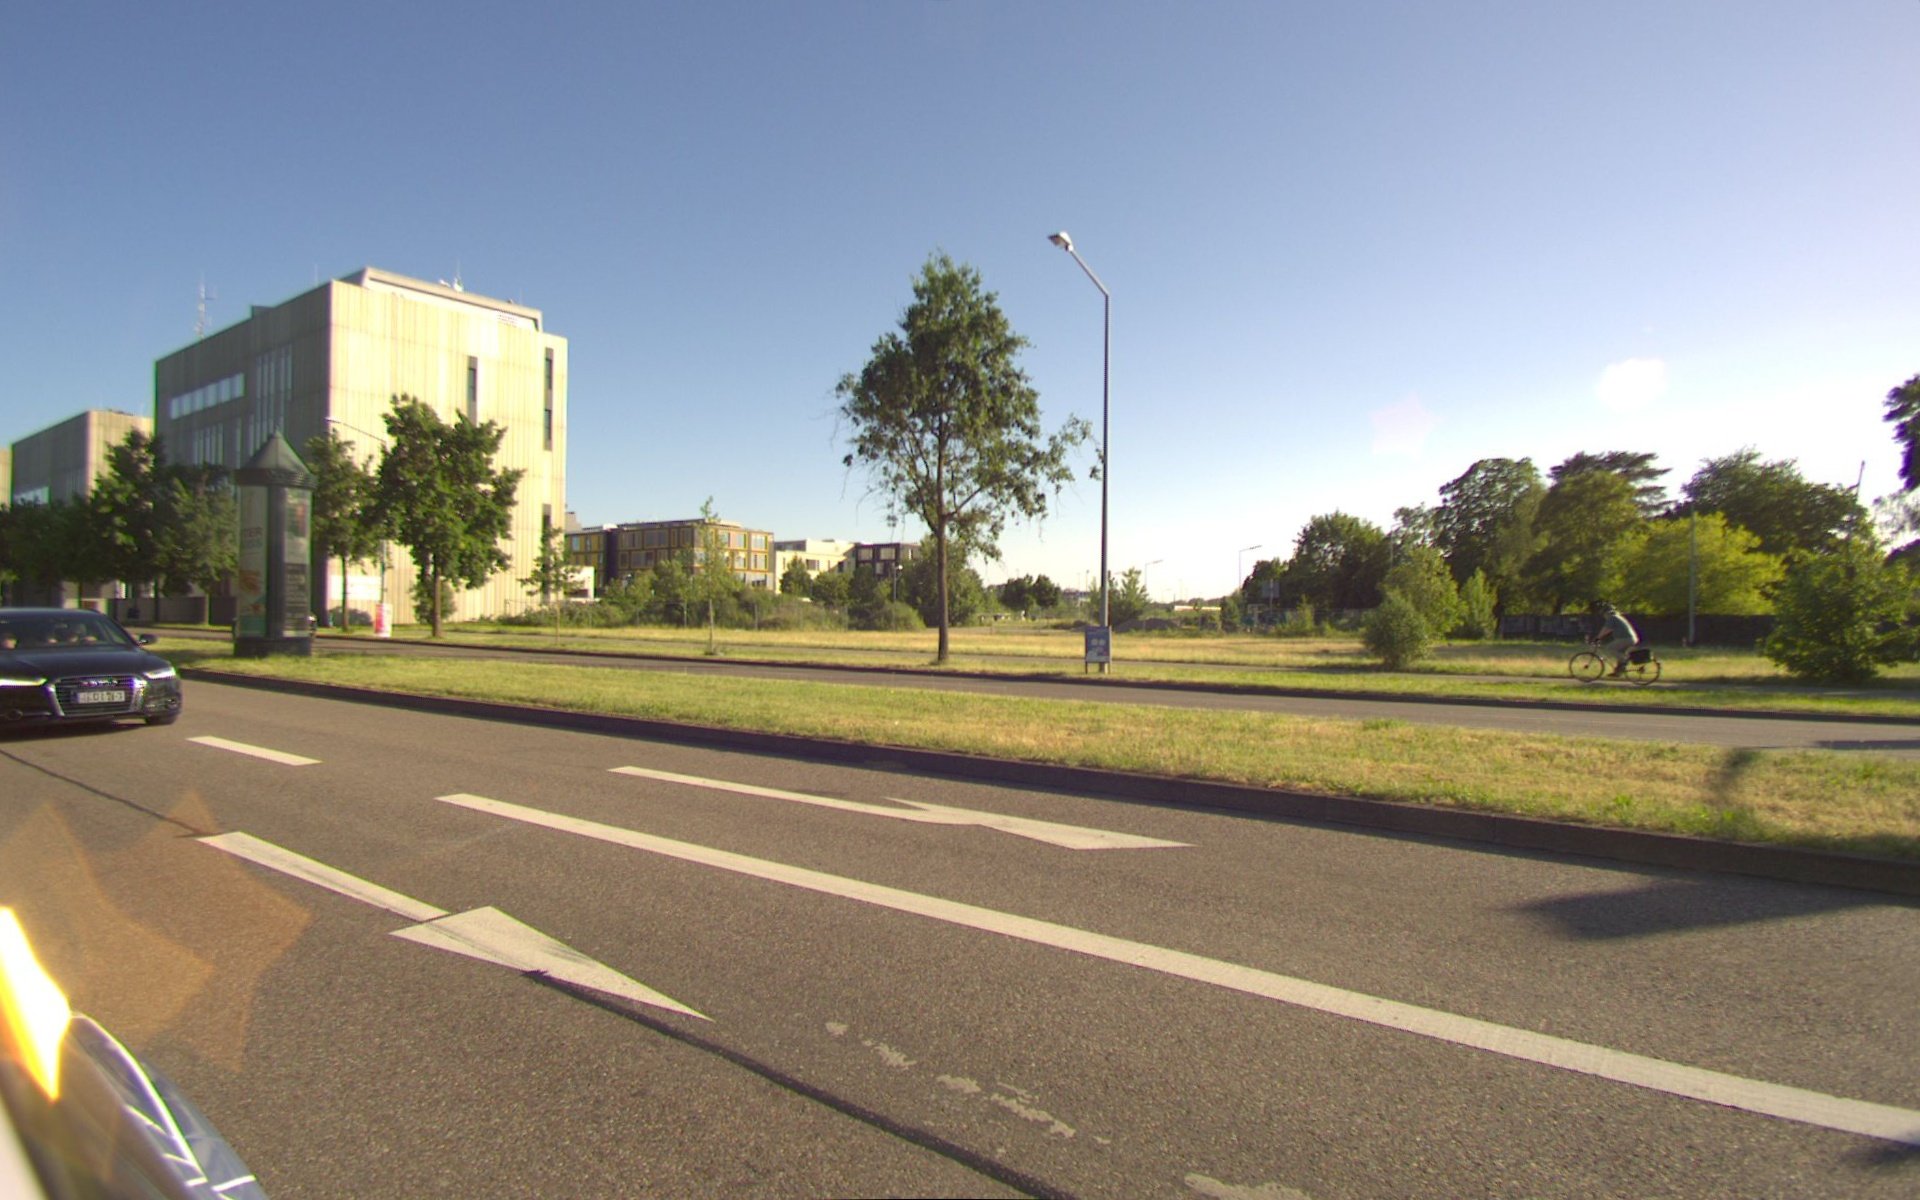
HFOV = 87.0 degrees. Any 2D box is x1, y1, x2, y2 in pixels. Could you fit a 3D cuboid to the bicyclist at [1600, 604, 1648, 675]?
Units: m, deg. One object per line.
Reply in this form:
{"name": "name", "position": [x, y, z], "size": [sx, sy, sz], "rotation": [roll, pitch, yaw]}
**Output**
{"name": "bicyclist", "position": [15.074, 0.886, 22.977], "size": [0.851, 1.576, 0.427], "rotation": [-1, -2, 41]}

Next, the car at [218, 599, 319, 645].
{"name": "car", "position": [-28.463, 0.884, 41.590], "size": [4.729, 1.752, 1.975], "rotation": [0, -1, 37]}

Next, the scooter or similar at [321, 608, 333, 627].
{"name": "scooter or similar", "position": [-38.603, 1.083, 61.732], "size": [0.447, 1.118, 1.408], "rotation": [1, -1, -39]}

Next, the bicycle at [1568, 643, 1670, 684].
{"name": "bicycle", "position": [14.980, 1.420, 23.040], "size": [1.888, 0.859, 0.484], "rotation": [-1, -1, 42]}

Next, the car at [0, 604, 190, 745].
{"name": "car", "position": [-11.479, 0.782, 12.517], "size": [5.007, 1.454, 1.776], "rotation": [0, 0, 36]}
